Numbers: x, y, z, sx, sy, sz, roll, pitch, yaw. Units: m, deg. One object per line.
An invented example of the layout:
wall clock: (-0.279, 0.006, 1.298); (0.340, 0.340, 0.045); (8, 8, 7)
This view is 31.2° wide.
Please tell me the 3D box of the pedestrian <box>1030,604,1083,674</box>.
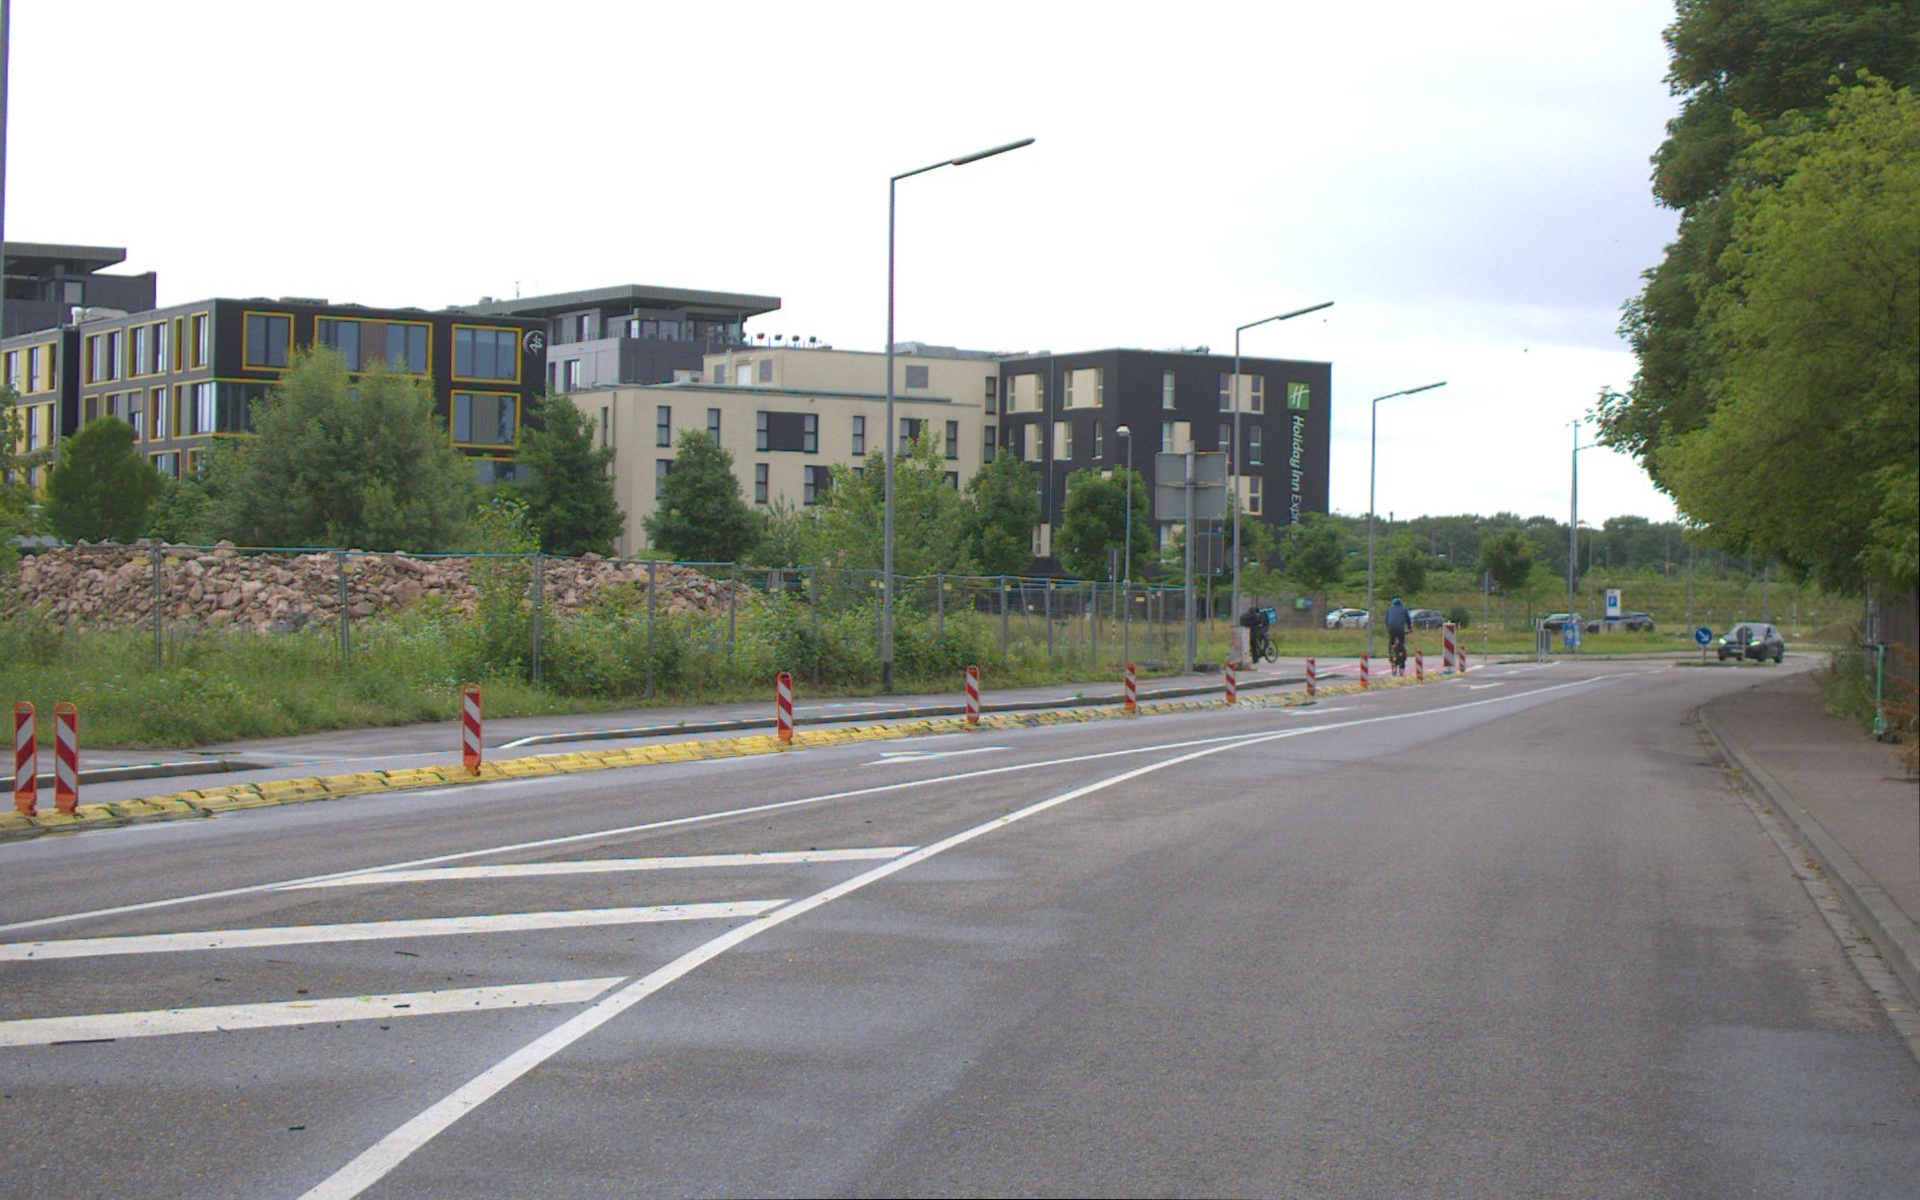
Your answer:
pedestrian: (2.581, 1.026, 92.061); (1.174, 1.840, 0.734); (1, 0, 31)

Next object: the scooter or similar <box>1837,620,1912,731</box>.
scooter or similar: (11.499, 0.931, 43.279); (0.691, 1.308, 2.352); (1, 1, 10)

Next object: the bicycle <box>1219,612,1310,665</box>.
bicycle: (9.243, 1.169, 104.411); (2.491, 1.578, 1.087); (1, 0, -21)

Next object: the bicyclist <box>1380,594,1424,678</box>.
bicyclist: (10.795, 0.867, 83.967); (0.862, 2.007, 1.176); (1, 0, 16)

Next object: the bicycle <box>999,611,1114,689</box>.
bicycle: (2.583, 1.338, 92.069); (3.132, 2.007, 0.673); (1, 0, 31)

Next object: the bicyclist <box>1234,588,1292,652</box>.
bicyclist: (9.193, 0.600, 104.390); (1.397, 1.893, 1.077); (1, 0, -21)

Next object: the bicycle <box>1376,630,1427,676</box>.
bicycle: (10.789, 1.282, 83.968); (0.884, 1.049, 2.467); (1, 1, 16)

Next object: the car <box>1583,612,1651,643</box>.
car: (41.095, 1.703, 215.201); (1.993, 1.816, 4.000); (1, 1, -31)

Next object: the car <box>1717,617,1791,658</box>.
car: (32.385, 1.523, 140.199); (1.884, 1.561, 4.351); (1, 1, 28)
